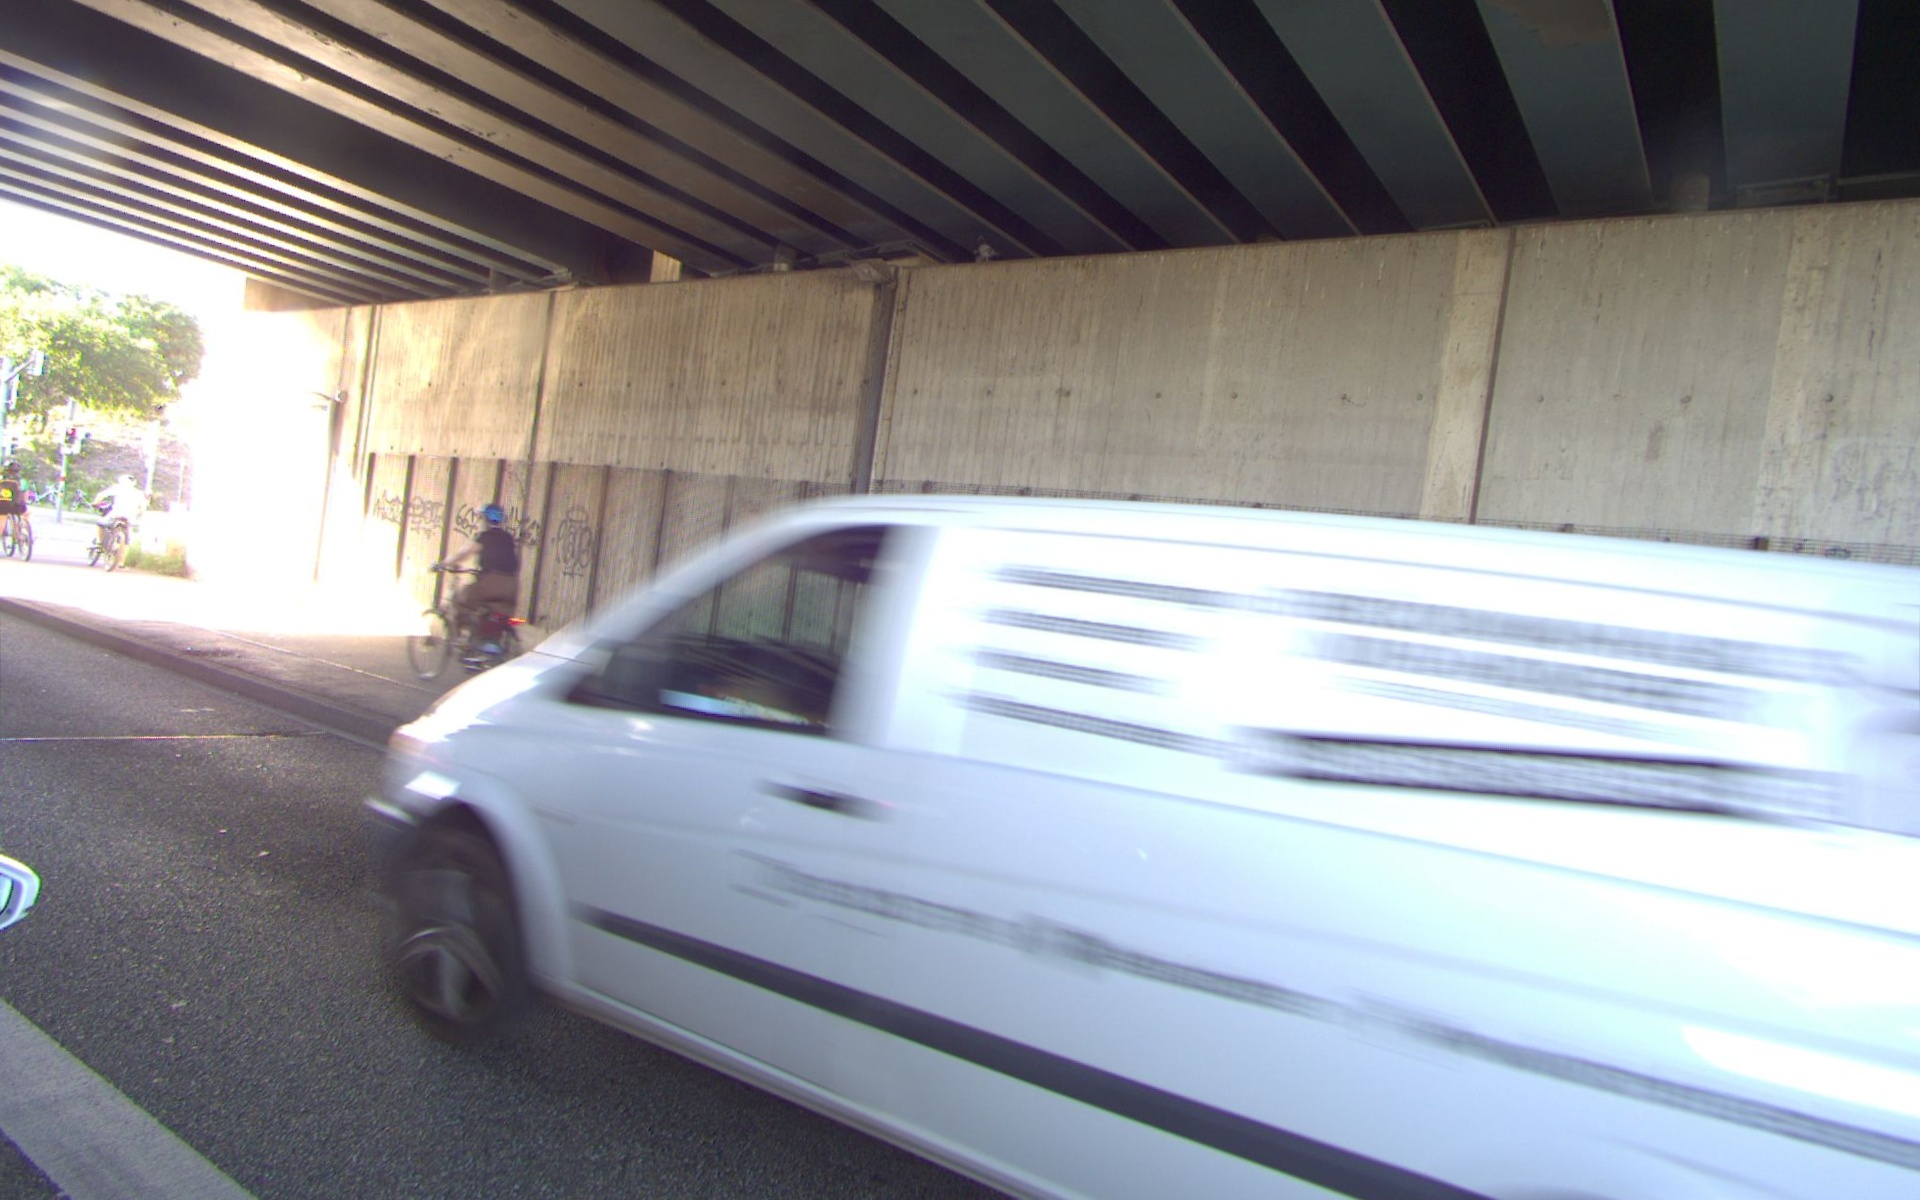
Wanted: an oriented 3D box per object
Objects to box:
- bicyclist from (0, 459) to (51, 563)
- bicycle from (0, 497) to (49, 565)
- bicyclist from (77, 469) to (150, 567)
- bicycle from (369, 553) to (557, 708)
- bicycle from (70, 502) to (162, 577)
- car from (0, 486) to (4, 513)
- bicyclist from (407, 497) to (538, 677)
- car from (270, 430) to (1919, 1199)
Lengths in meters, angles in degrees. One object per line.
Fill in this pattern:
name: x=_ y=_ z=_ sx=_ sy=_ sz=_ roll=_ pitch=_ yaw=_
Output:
bicyclist: x=-16.065 y=-1.508 z=17.111 sx=0.635 sy=1.647 sz=0.676 roll=6 pitch=-2 yaw=42
bicycle: x=-16.139 y=-1.191 z=17.141 sx=1.508 sy=1.036 sz=0.676 roll=6 pitch=-2 yaw=43
bicyclist: x=-14.741 y=-1.418 z=17.523 sx=0.723 sy=1.581 sz=0.670 roll=7 pitch=0 yaw=32
bicycle: x=-4.686 y=0.256 z=9.444 sx=1.748 sy=1.183 sz=0.651 roll=8 pitch=3 yaw=30
bicycle: x=-14.650 y=-1.050 z=17.457 sx=1.577 sy=1.126 sz=0.682 roll=6 pitch=0 yaw=32
car: x=-11.723 y=-0.692 z=10.254 sx=3.653 sy=1.473 sz=1.750 roll=7 pitch=-1 yaw=29
bicyclist: x=-4.535 y=-0.124 z=9.361 sx=0.833 sy=1.554 sz=0.653 roll=7 pitch=3 yaw=31
car: x=0.342 y=0.702 z=3.090 sx=4.751 sy=1.857 sz=1.903 roll=7 pitch=-1 yaw=28
